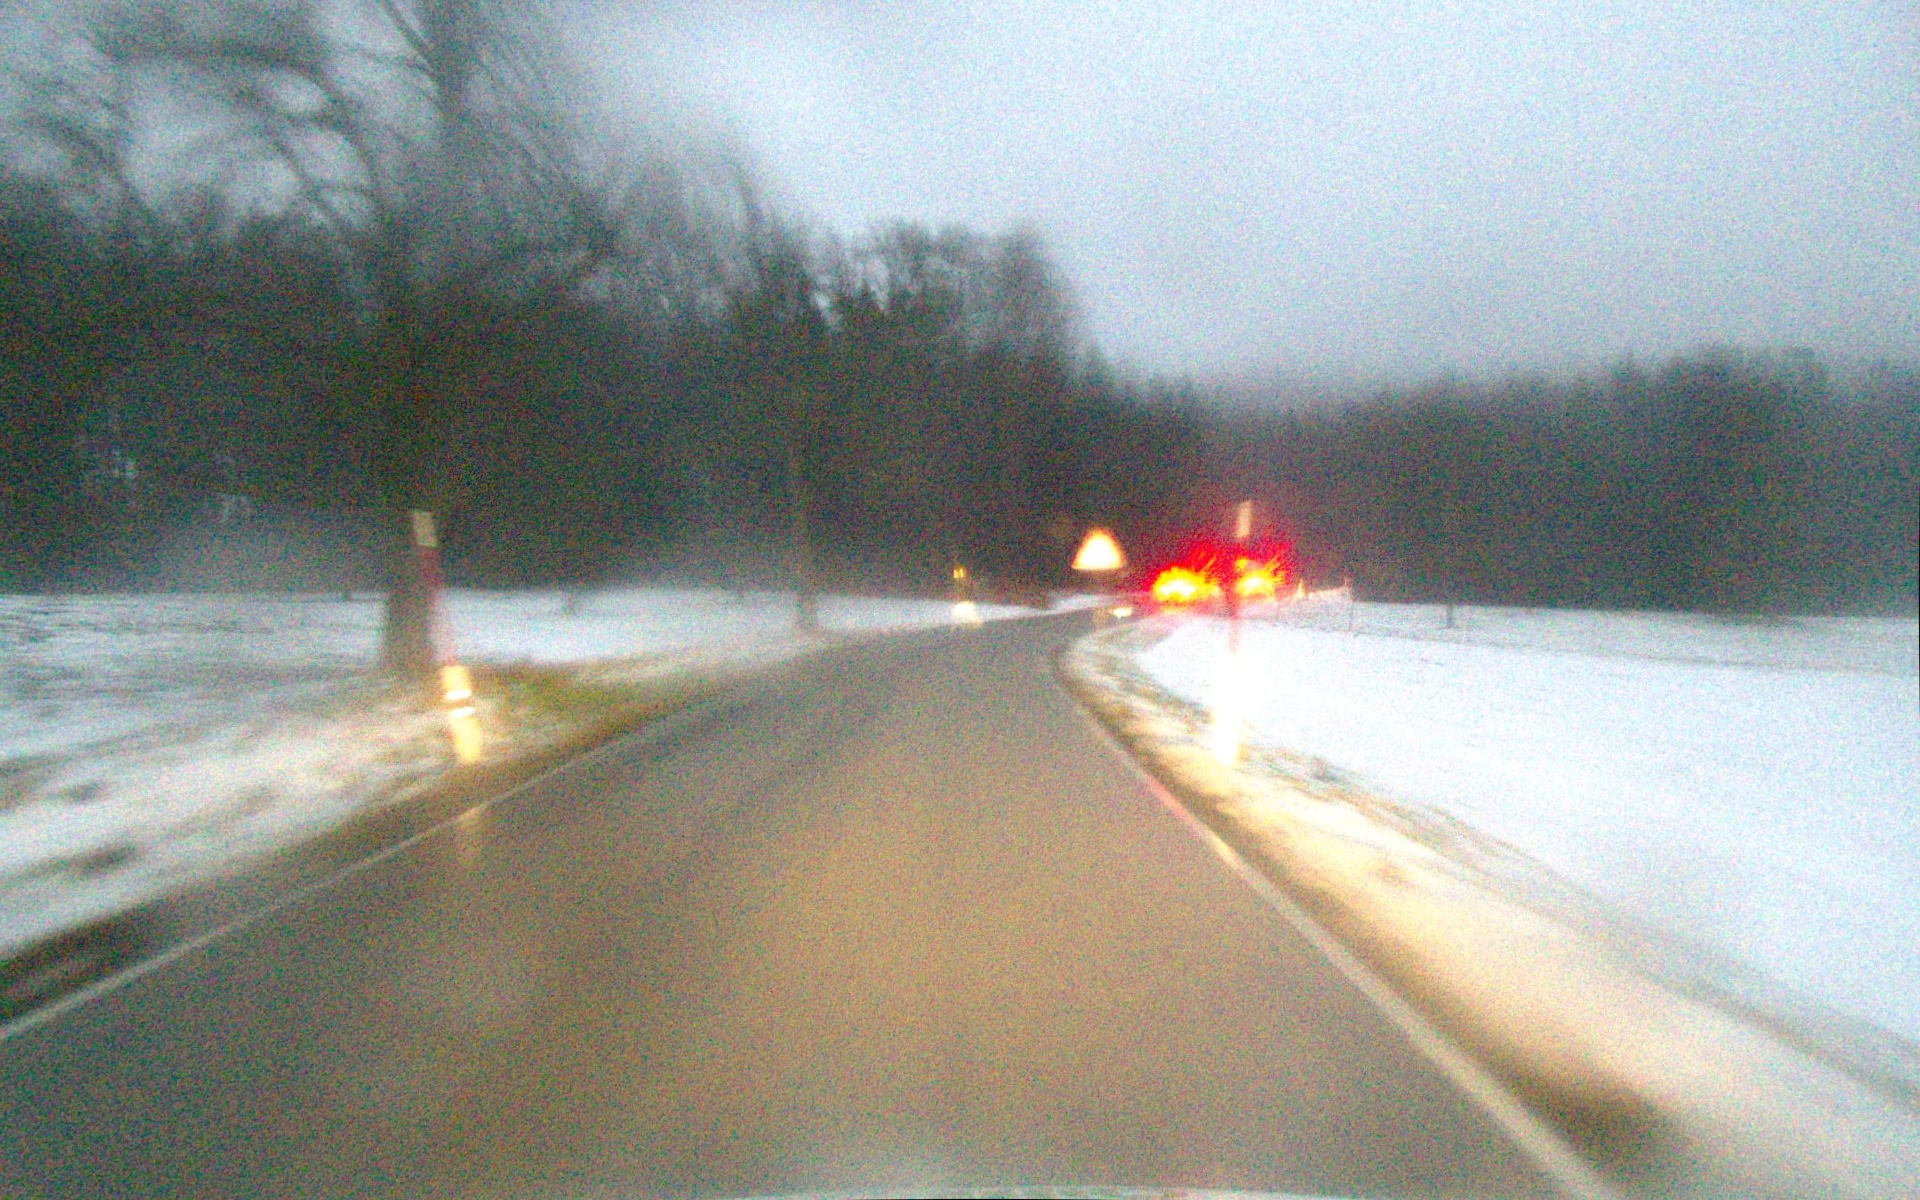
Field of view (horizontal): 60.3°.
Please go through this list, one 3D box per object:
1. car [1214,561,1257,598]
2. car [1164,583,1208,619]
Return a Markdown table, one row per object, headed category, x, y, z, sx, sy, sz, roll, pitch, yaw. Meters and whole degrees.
| category | x | y | z | sx | sy | sz | roll | pitch | yaw |
| --- | --- | --- | --- | --- | --- | --- | --- | --- | --- |
| car | 20.888 | -1.568 | 125.136 | 2.206 | 2.691 | 5.006 | 0 | 1 | 22 |
| car | 13.951 | 0.027 | 102.105 | 1.952 | 2.087 | 4.002 | 3 | 1 | 18 |
